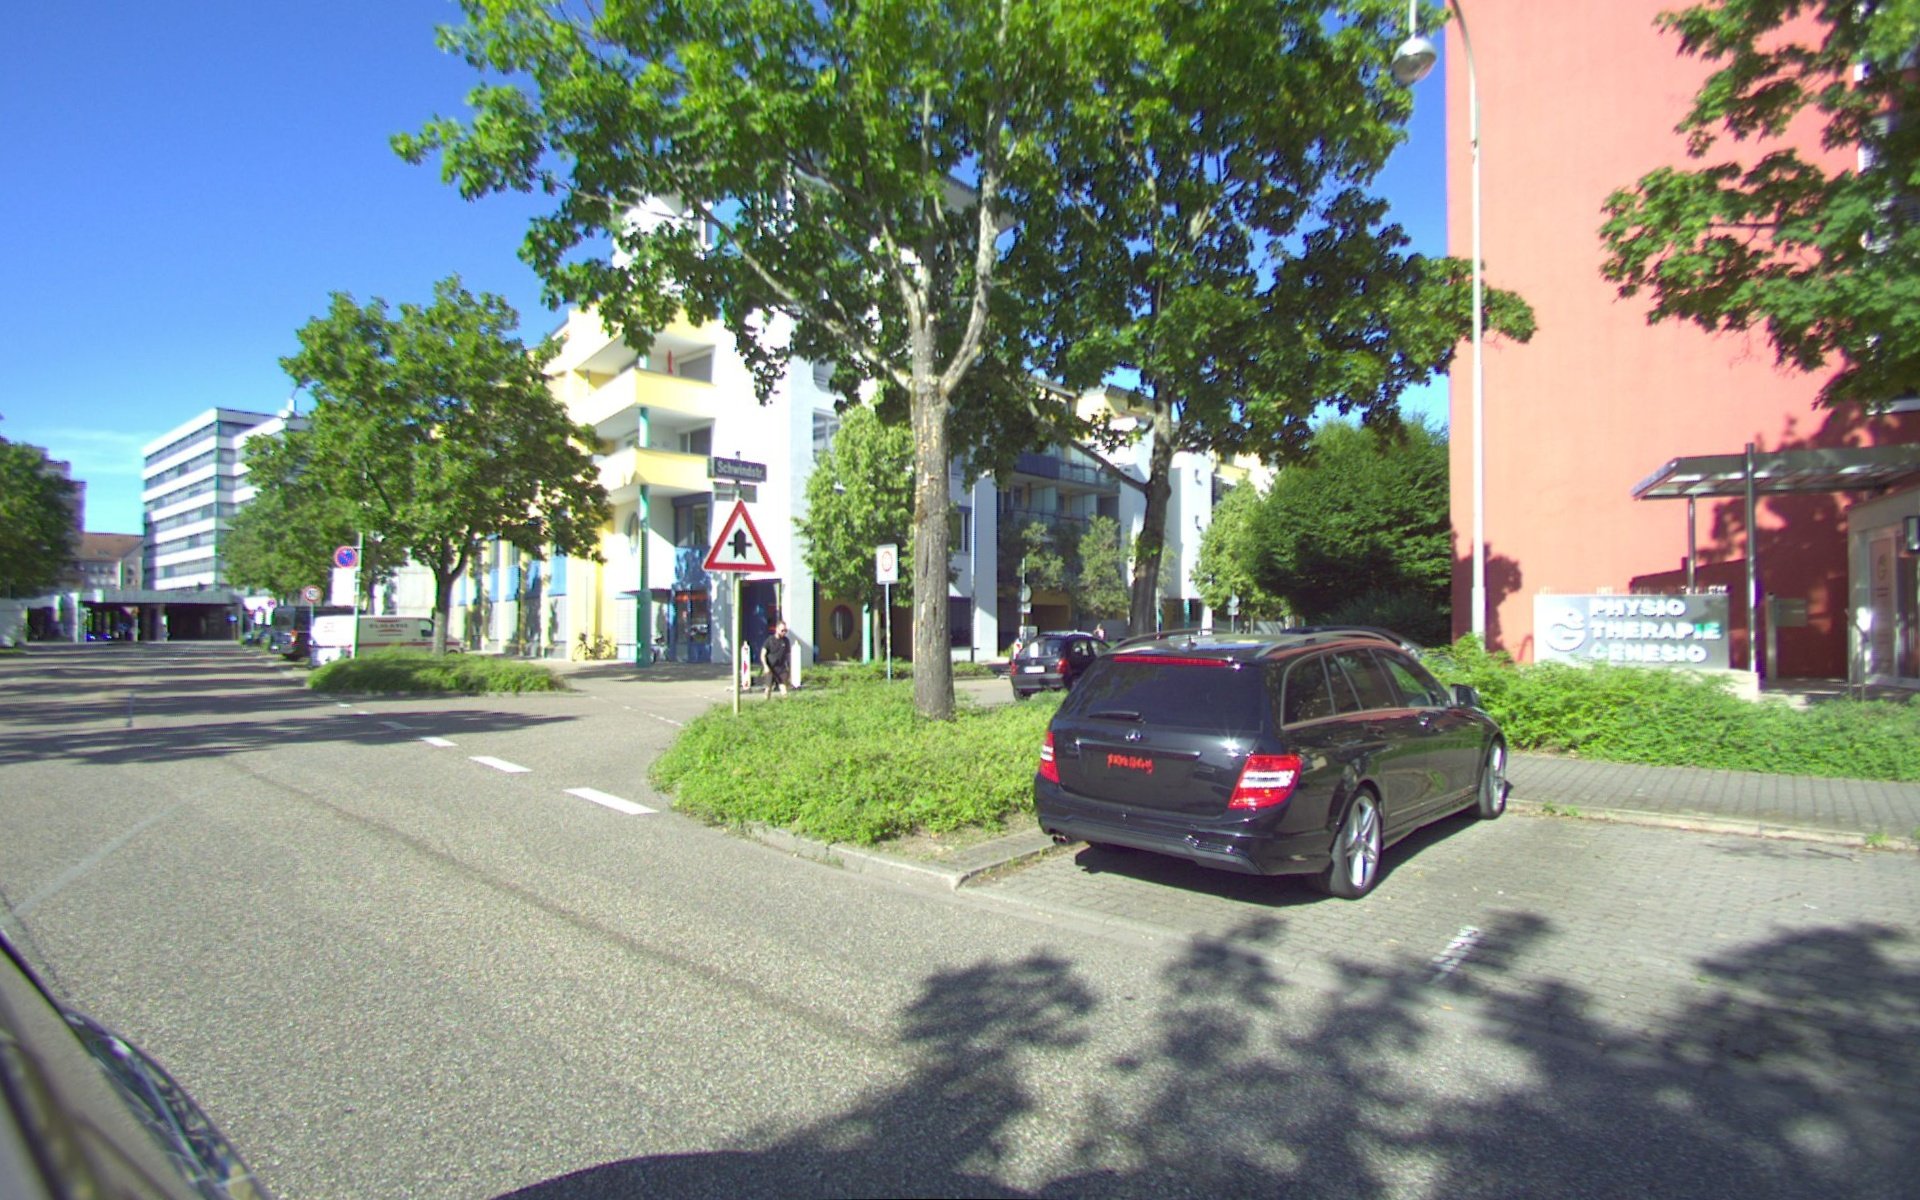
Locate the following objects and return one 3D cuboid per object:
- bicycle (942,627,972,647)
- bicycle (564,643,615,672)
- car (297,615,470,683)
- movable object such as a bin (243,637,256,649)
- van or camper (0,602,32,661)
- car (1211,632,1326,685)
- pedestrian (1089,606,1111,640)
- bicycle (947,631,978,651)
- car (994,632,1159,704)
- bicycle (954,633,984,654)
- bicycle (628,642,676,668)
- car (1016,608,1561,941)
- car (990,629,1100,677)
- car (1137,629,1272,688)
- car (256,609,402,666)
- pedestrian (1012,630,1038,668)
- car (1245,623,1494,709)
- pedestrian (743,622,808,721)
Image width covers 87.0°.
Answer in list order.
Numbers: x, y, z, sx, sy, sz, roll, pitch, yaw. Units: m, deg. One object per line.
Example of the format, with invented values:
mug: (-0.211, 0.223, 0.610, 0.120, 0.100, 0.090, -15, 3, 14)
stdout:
bicycle: (-0.120, 1.633, 44.561, 0.287, 0.878, 1.780, -1, -2, 39)
bicycle: (-14.858, 2.307, 40.604, 1.774, 1.106, 0.703, 2, -3, -36)
car: (-18.314, 1.494, 32.440, 1.983, 2.000, 4.743, -2, -1, 17)
movable object such as a bin: (-63.382, 3.856, 90.285, 0.665, 1.082, 0.804, 1, -2, -12)
van or camper: (-51.606, 1.492, 51.617, 5.904, 3.007, 2.676, 5, -4, -38)
car: (9.586, 1.786, 31.270, 1.935, 1.516, 3.954, -5, -4, 40)
pedestrian: (6.116, 1.005, 44.150, 0.680, 1.500, 0.837, -1, -2, 33)
bicycle: (0.118, 1.803, 44.302, 0.287, 0.878, 1.780, -1, -2, 39)
car: (2.704, 1.496, 22.841, 1.802, 1.458, 3.941, -5, -4, 40)
bicycle: (0.399, 1.901, 44.083, 0.287, 0.878, 1.780, -1, -2, 39)
bicycle: (-11.399, 2.012, 37.485, 0.490, 0.878, 1.783, -1, -1, 34)
car: (2.421, 0.817, 6.715, 1.740, 1.434, 4.215, -2, 0, 44)
car: (3.196, 1.921, 37.610, 1.999, 1.606, 4.192, -2, -2, 40)
car: (6.668, 1.570, 27.399, 1.935, 1.461, 3.954, -5, -4, 40)
car: (-29.112, 1.696, 46.924, 2.175, 2.455, 5.456, -2, -1, 26)
pedestrian: (2.639, 1.975, 41.074, 0.719, 1.525, 0.788, -1, 0, 39)
car: (7.599, 1.185, 18.875, 4.115, 1.454, 1.722, -1, -3, 30)
pedestrian: (-3.348, 1.268, 18.360, 1.022, 1.739, 0.649, -1, -3, 45)
